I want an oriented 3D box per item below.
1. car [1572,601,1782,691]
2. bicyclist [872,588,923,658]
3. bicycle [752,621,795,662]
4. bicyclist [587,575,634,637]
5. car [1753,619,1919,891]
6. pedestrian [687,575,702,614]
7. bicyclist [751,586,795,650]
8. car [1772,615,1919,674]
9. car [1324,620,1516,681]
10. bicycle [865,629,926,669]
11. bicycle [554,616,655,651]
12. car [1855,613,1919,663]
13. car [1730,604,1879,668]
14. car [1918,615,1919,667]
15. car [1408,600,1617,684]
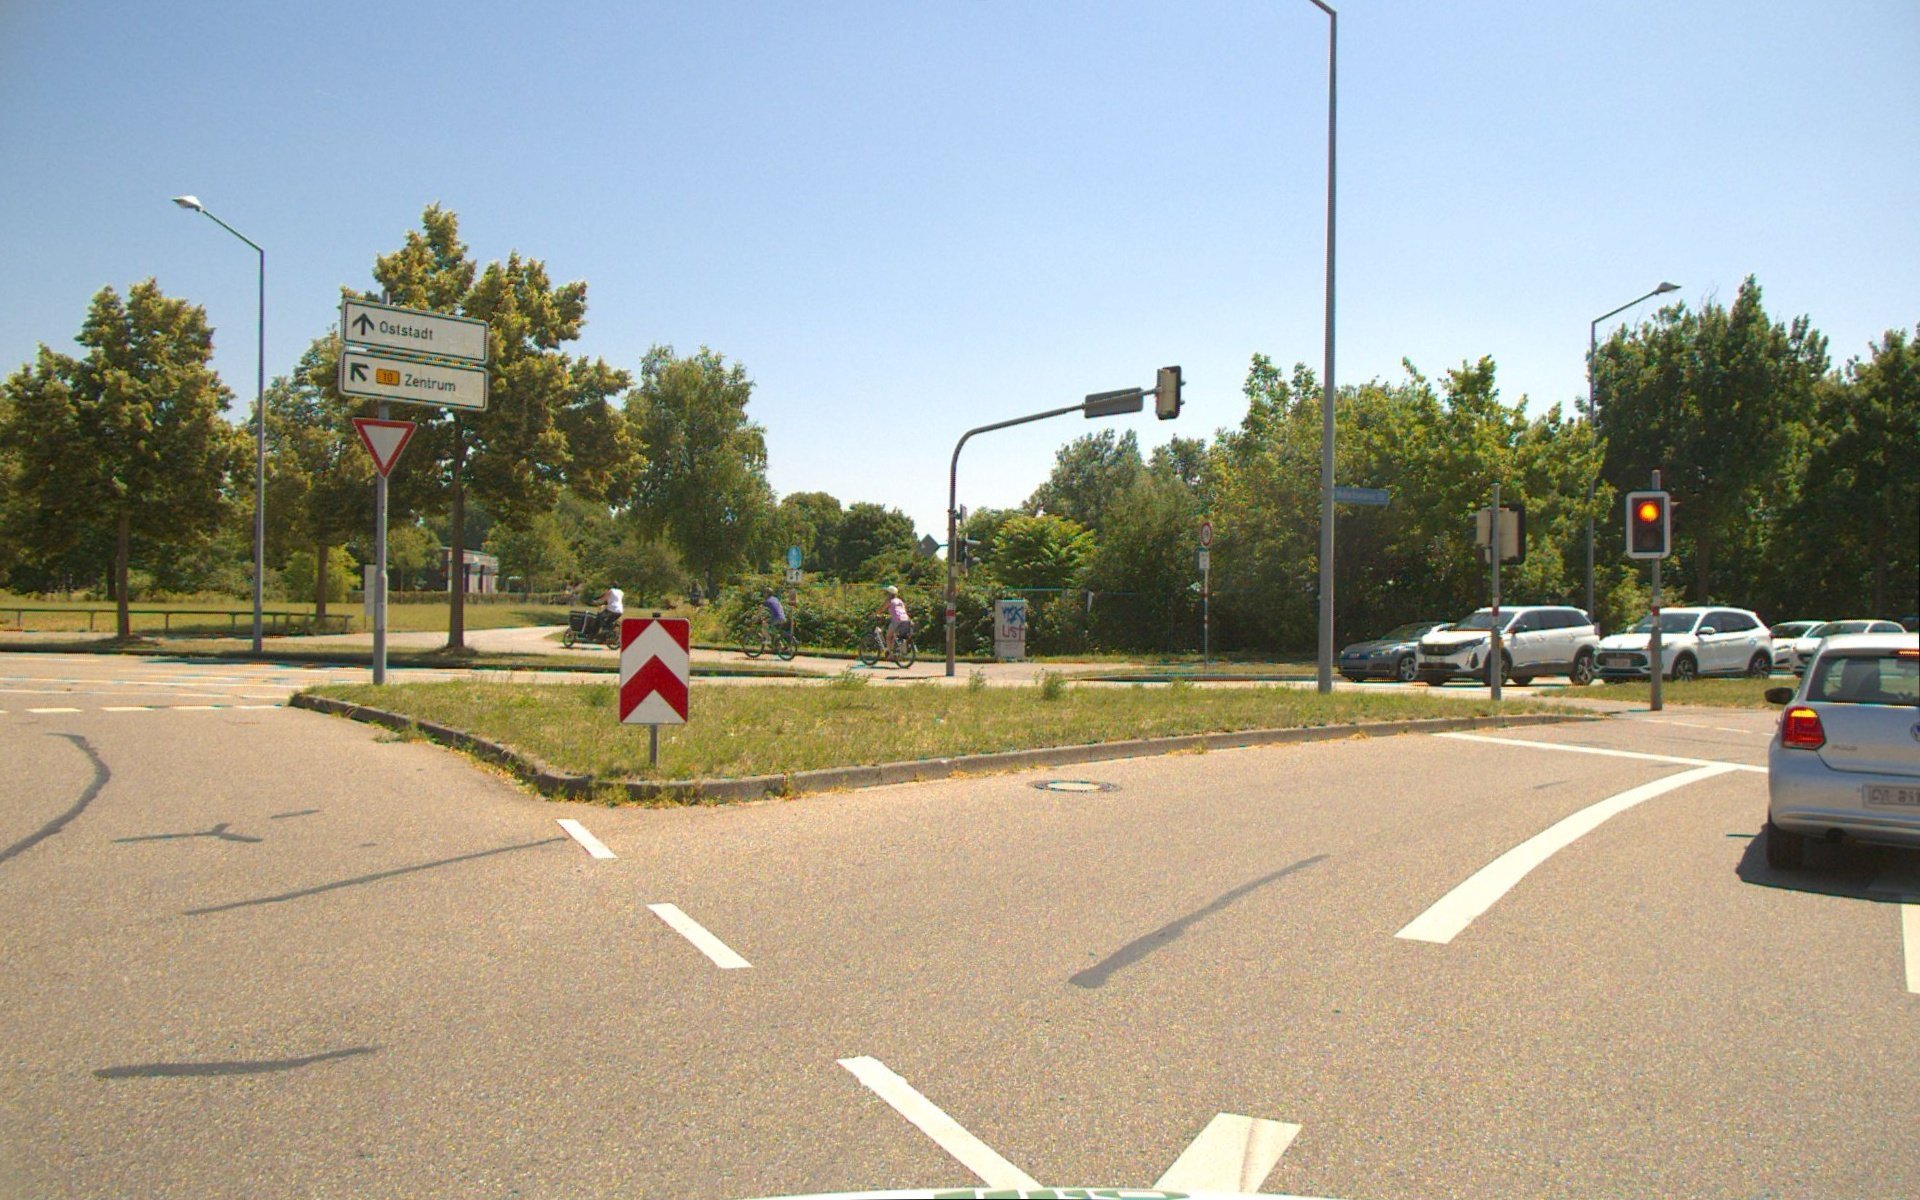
[{"bbox_3d":[14.761,0.916,33.993,4.351,1.713,1.844,1,0,-32],"label":"car"},{"bbox_3d":[-1.498,0.560,39.612,0.942,1.638,1.179,1,-1,-18],"label":"bicyclist"},{"bbox_3d":[-4.699,1.034,41.526,0.880,0.916,1.757,2,1,-12],"label":"bicycle"},{"bbox_3d":[-9.334,0.165,44.124,0.956,1.642,0.755,-1,-2,29],"label":"bicyclist"},{"bbox_3d":[6.271,0.889,10.926,1.741,1.447,3.998,1,0,24],"label":"car"},{"bbox_3d":[-12.148,-0.244,75.726,0.561,1.761,0.674,0,-2,-1],"label":"pedestrian"},{"bbox_3d":[-4.699,0.433,41.528,0.940,1.558,1.182,1,1,-13],"label":"bicyclist"},{"bbox_3d":[23.262,1.134,43.040,4.351,1.447,1.844,1,0,-32],"label":"car"},{"bbox_3d":[10.630,1.133,38.119,4.351,1.292,1.844,1,0,-32],"label":"car"},{"bbox_3d":[-1.571,1.166,39.667,0.882,0.916,2.215,2,-1,-18],"label":"bicycle"},{"bbox_3d":[-9.523,0.895,44.206,2.864,0.928,0.739,0,-2,29],"label":"bicycle"},{"bbox_3d":[29.553,1.151,50.693,4.351,1.447,1.844,1,0,-32],"label":"car"},{"bbox_3d":[24.025,1.010,47.011,4.351,1.713,1.844,1,0,-32],"label":"car"},{"bbox_3d":[29.029,1.168,46.506,4.351,1.447,1.844,1,0,-32],"label":"car"},{"bbox_3d":[11.582,0.848,34.621,4.351,1.646,1.844,1,0,-32],"label":"car"}]
